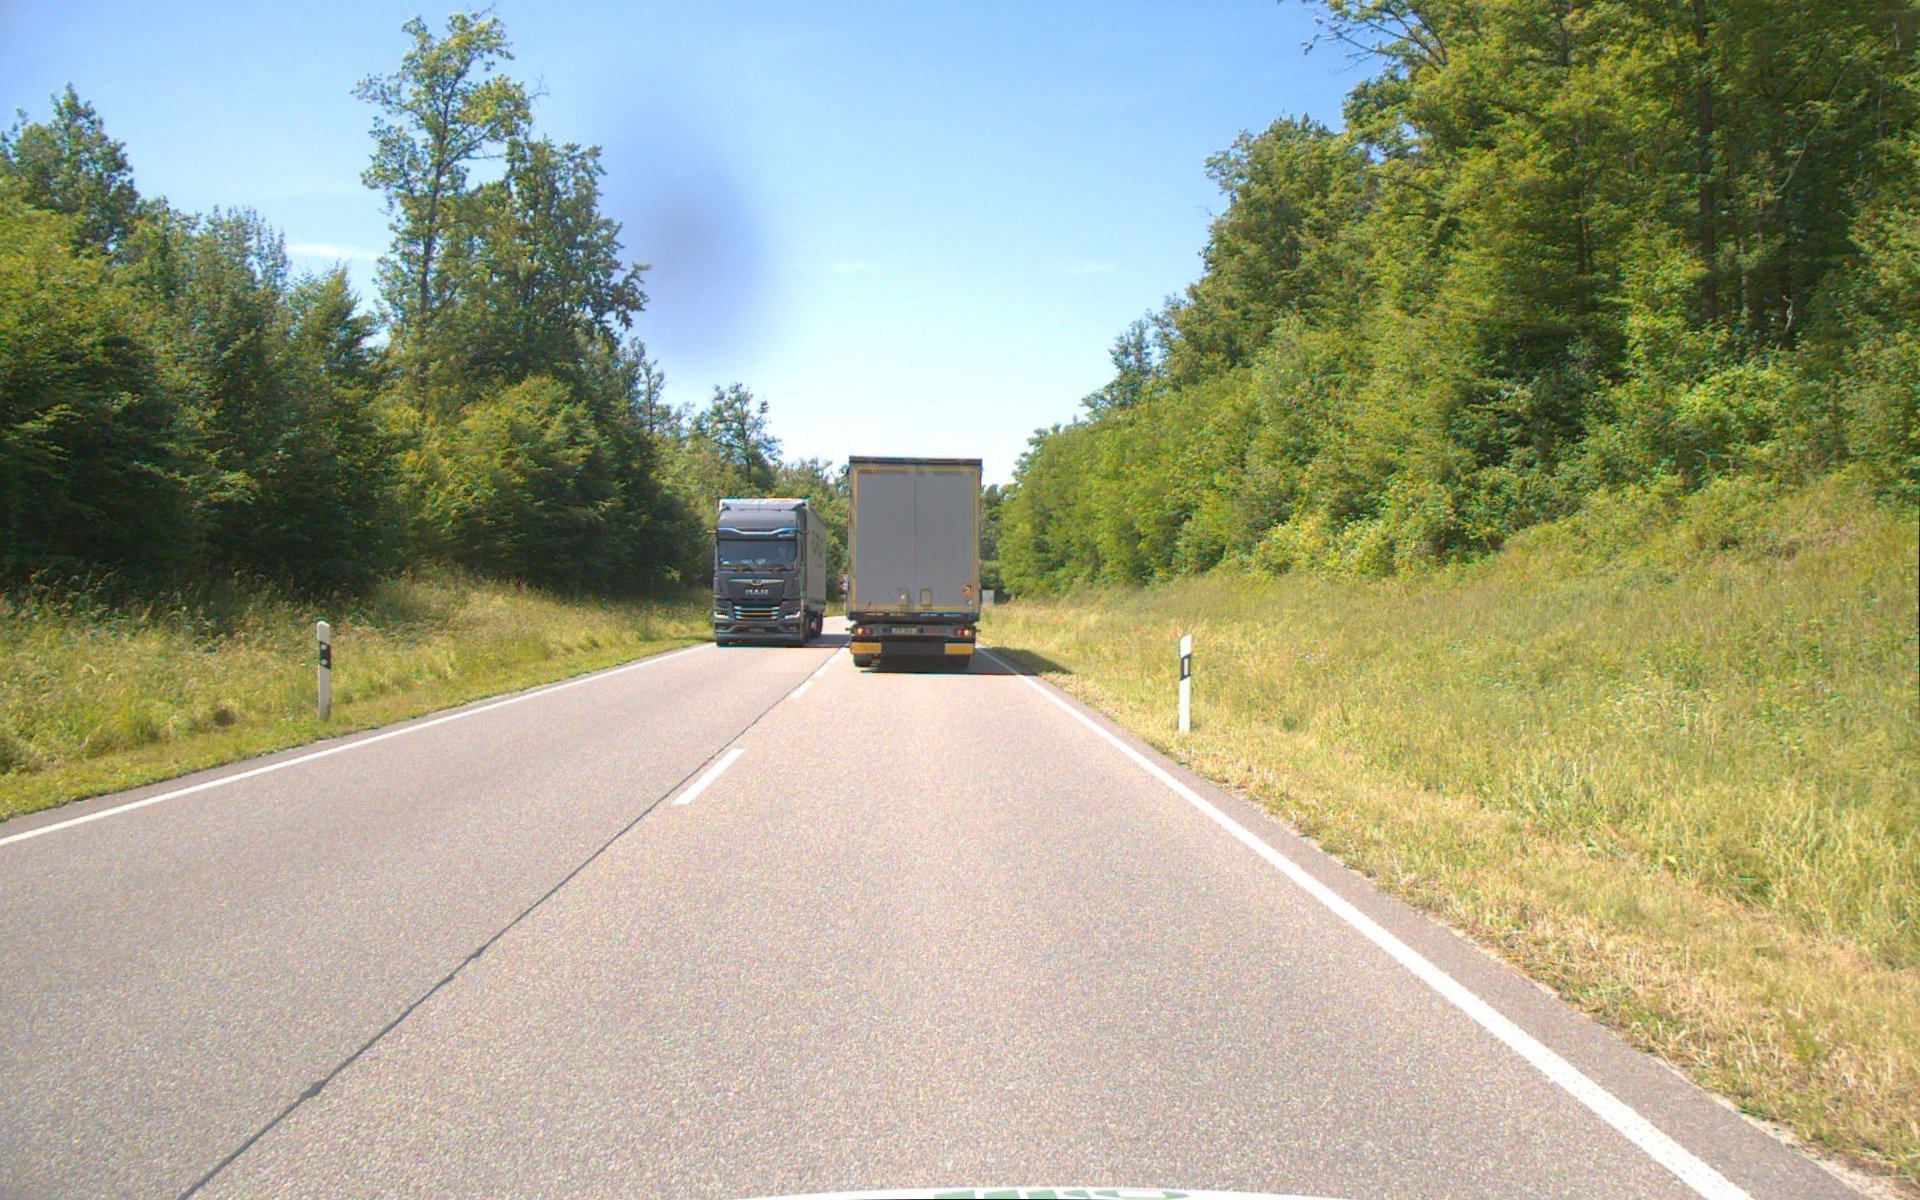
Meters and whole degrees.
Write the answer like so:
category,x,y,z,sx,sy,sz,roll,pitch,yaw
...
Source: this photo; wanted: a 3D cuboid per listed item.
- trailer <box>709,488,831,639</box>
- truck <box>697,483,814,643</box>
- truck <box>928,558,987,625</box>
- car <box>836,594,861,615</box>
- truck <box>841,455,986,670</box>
category,x,y,z,sx,sy,sz,roll,pitch,yaw
trailer,-5.971,-1.084,54.200,2.882,4.327,13.614,0,0,-2
truck,-5.740,-1.013,47.228,2.863,4.289,5.341,0,0,-2
truck,-0.295,-0.559,118.182,3.717,4.449,14.914,1,0,-2
car,-8.110,0.312,120.400,1.627,1.521,3.804,-1,0,-2
truck,-1.131,-0.713,36.987,2.706,4.016,12.191,0,0,-3
